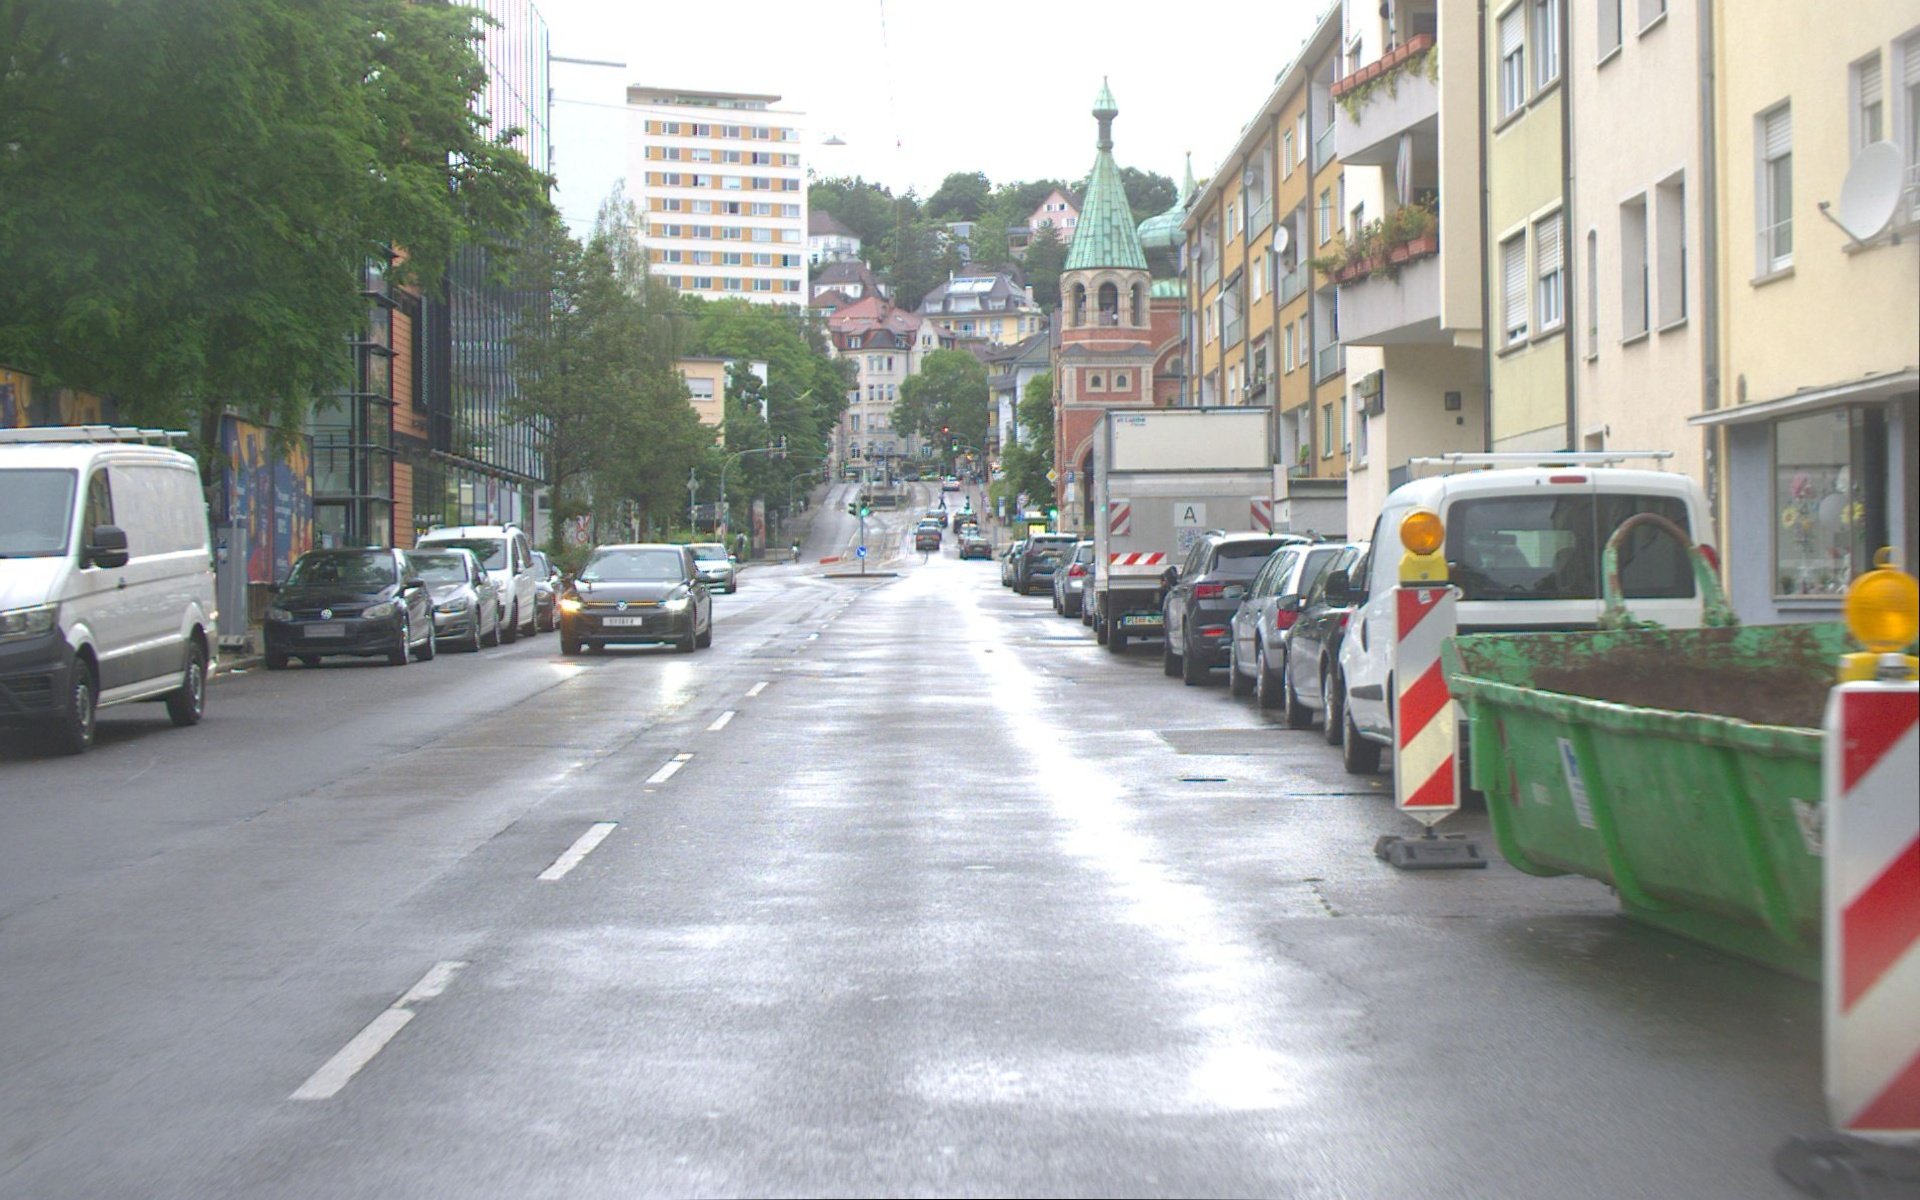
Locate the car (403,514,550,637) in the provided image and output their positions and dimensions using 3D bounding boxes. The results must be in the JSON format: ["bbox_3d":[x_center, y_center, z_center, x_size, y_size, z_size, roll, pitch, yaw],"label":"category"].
[{"bbox_3d":[-7.478,-0.371,53.475,1.723,1.794,4.344,-1,0,-1],"label":"car"}]

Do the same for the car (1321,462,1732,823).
[{"bbox_3d":[3.234,0.205,20.394,1.817,1.917,4.239,0,1,1],"label":"car"}]

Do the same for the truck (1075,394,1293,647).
[{"bbox_3d":[2.947,-1.015,46.856,2.469,3.161,7.036,0,0,0],"label":"truck"}]

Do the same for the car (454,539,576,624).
[{"bbox_3d":[-7.609,-0.307,59.117,1.723,1.371,4.344,-1,0,-3],"label":"car"}]

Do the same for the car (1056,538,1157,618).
[{"bbox_3d":[2.816,-0.422,66.954,1.663,1.497,3.921,0,0,-2],"label":"car"}]

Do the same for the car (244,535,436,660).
[{"bbox_3d":[-7.460,-0.027,41.649,1.682,1.394,3.911,-1,0,-2],"label":"car"}]

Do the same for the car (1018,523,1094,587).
[{"bbox_3d":[2.555,-1.201,92.360,1.817,1.647,4.076,1,0,-1],"label":"car"}]

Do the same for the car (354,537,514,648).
[{"bbox_3d":[-7.387,-0.102,48.578,1.682,1.457,4.277,-1,0,-2],"label":"car"}]

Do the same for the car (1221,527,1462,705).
[{"bbox_3d":[3.379,0.116,31.089,1.663,1.495,4.098,0,1,-1],"label":"car"}]

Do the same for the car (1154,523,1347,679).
[{"bbox_3d":[3.059,-0.013,36.838,1.663,1.568,4.098,0,1,-1],"label":"car"}]

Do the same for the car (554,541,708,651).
[{"bbox_3d":[-4.430,-0.065,46.829,1.805,1.411,4.384,-1,0,-2],"label":"car"}]

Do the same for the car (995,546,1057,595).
[{"bbox_3d":[2.084,-0.938,109.444,1.817,1.517,4.076,1,0,-1],"label":"car"}]

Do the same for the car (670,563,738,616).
[{"bbox_3d":[-7.271,-0.276,97.939,1.709,1.445,4.294,-1,0,-2],"label":"car"}]

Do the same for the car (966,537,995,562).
[{"bbox_3d":[1.373,-3.347,227.202,1.732,1.648,4.000,0,1,2],"label":"car"}]

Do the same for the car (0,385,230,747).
[{"bbox_3d":[-7.331,-0.252,26.636,2.012,2.478,5.983,-1,1,0],"label":"car"}]

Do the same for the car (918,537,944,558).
[{"bbox_3d":[-2.166,-3.919,255.580,1.908,1.505,4.000,0,0,-1],"label":"car"}]

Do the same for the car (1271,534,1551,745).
[{"bbox_3d":[3.311,0.261,25.776,1.577,1.465,3.502,0,1,-1],"label":"car"}]
